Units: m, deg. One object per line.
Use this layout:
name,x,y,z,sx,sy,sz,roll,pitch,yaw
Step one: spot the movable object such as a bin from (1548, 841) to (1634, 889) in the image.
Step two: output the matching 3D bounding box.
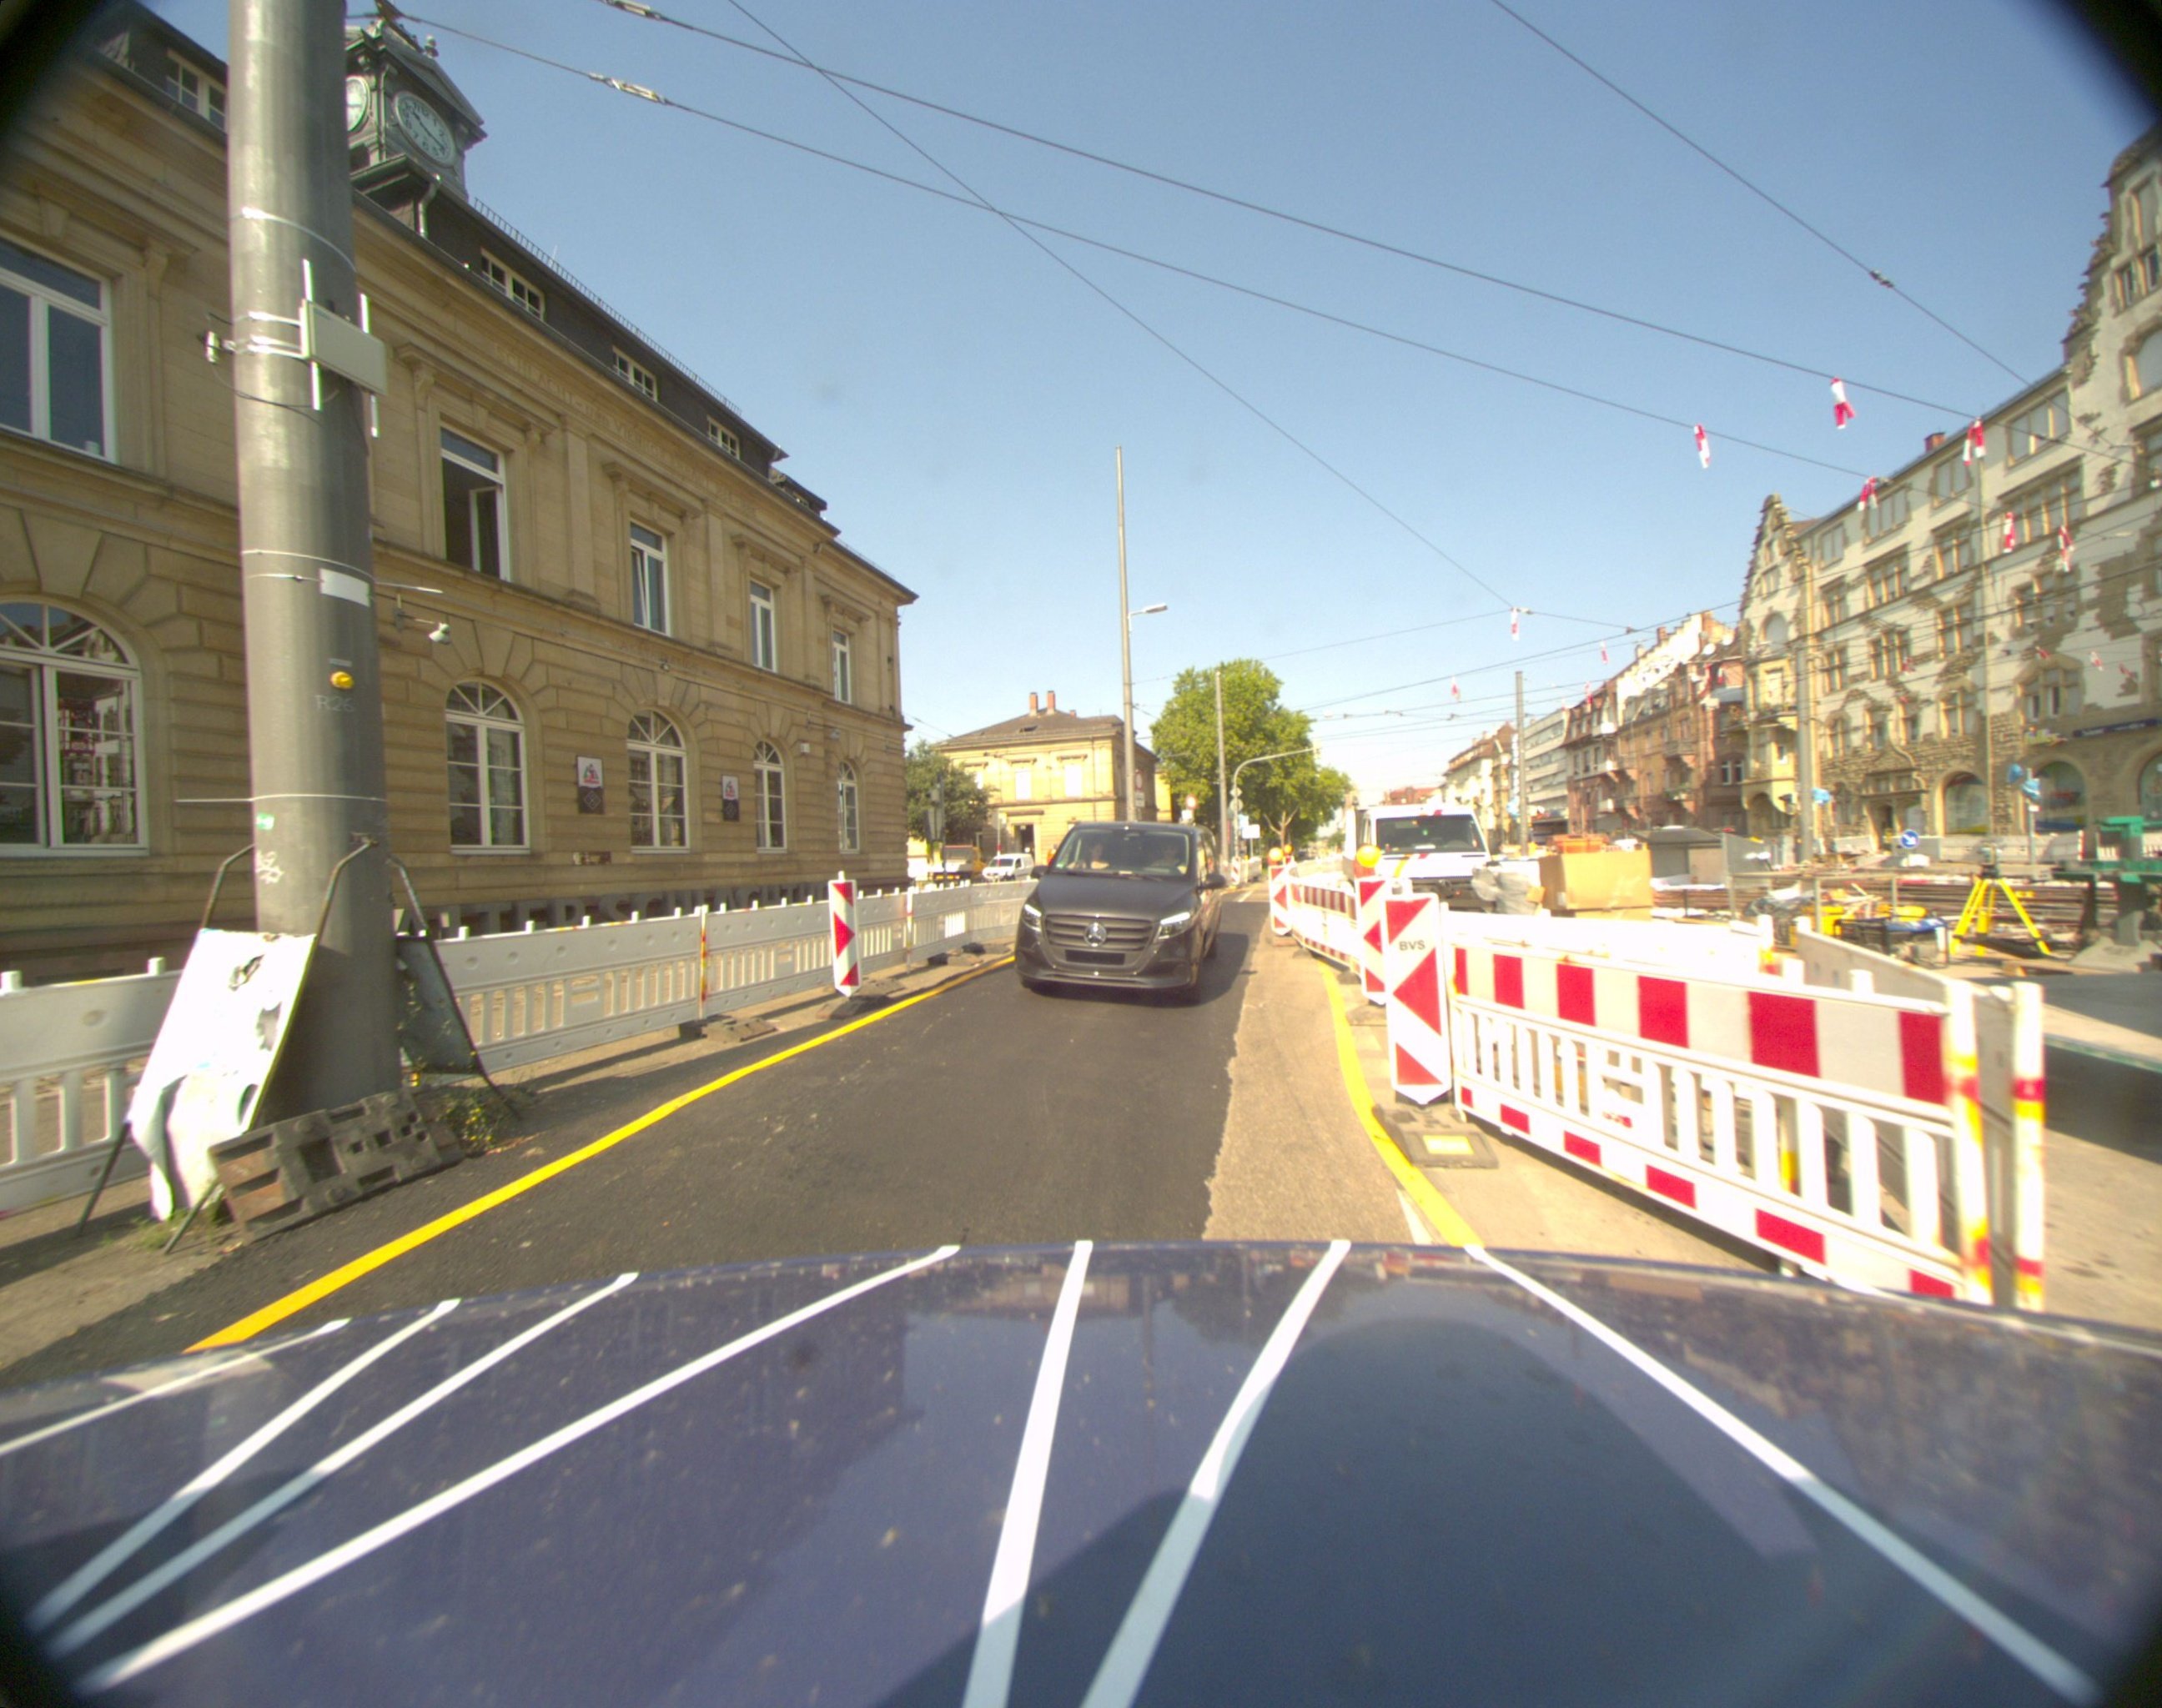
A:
movable object such as a bin,17.534,0.345,26.268,1.602,1.549,3.290,-1,0,18

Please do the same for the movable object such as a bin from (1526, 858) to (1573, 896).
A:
movable object such as a bin,16.165,0.774,26.286,0.888,1.204,2.215,-1,0,18

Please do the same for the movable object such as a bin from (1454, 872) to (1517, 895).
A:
movable object such as a bin,13.538,0.977,25.450,0.719,0.709,1.719,-2,1,-40

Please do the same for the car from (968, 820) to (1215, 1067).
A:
car,0.415,0.668,8.113,1.851,1.875,4.182,2,1,11

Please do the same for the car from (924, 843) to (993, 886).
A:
car,-7.367,0.589,46.340,2.261,2.408,5.494,-1,0,12

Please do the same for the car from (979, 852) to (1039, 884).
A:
car,-4.097,0.821,43.886,1.906,1.772,4.231,0,-1,17

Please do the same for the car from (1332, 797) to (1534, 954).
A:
car,6.664,0.318,15.443,2.211,2.410,7.206,-1,0,13

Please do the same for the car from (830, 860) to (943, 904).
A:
car,-7.713,1.089,30.361,4.009,1.528,1.665,2,2,1
